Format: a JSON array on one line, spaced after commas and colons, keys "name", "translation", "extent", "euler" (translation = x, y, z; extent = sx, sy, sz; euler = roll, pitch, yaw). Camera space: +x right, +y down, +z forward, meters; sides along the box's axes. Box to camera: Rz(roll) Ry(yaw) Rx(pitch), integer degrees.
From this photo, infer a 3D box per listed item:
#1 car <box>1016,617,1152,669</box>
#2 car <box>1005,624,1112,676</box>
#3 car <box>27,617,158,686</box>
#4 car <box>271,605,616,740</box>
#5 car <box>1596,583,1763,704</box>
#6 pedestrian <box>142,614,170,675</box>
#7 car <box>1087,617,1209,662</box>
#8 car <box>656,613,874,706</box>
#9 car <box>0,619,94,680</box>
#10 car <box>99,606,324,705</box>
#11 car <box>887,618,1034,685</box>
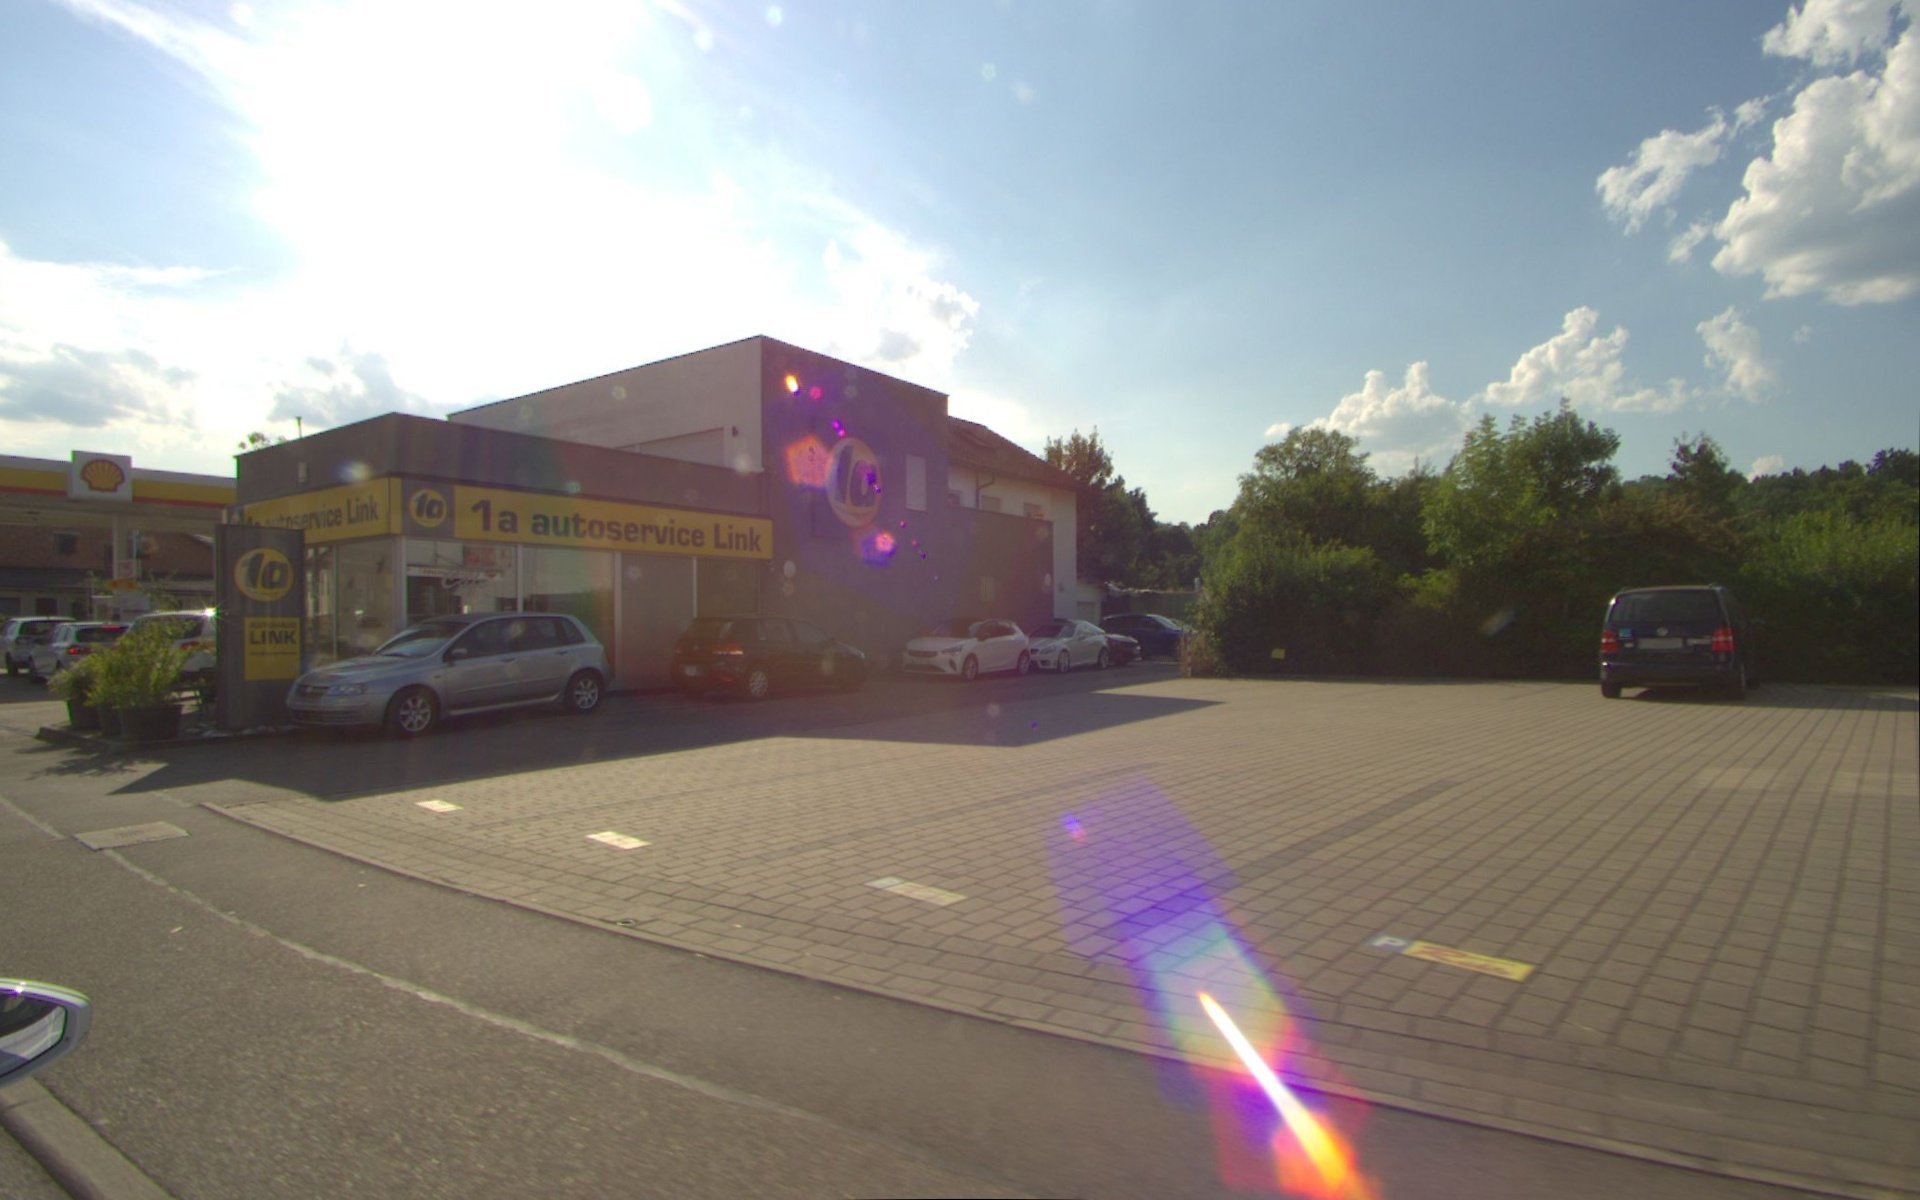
[{"name": "car", "translation": [3.775, 1.284, 30.669], "extent": [3.758, 1.417, 1.659], "euler": [1, 0, 33]}, {"name": "car", "translation": [2.765, 1.326, 27.441], "extent": [1.378, 1.278, 3.748], "euler": [1, -1, 32]}, {"name": "car", "translation": [-21.779, 1.232, 25.104], "extent": [3.946, 1.598, 1.667], "euler": [-1, -1, 36]}, {"name": "car", "translation": [-6.787, 0.877, 13.598], "extent": [1.505, 1.551, 3.981], "euler": [-1, -1, 31]}, {"name": "car", "translation": [11.057, 0.643, 15.291], "extent": [1.623, 1.615, 3.613], "euler": [-3, -3, 42]}, {"name": "pedestrian", "translation": [-22.513, 1.244, 28.037], "extent": [0.527, 1.691, 0.499], "euler": [-1, -1, 36]}, {"name": "car", "translation": [6.689, 1.376, 35.748], "extent": [3.924, 1.417, 1.659], "euler": [1, 0, 33]}, {"name": "car", "translation": [-3.434, 1.009, 18.311], "extent": [1.692, 1.487, 3.897], "euler": [1, -1, 32]}, {"name": "car", "translation": [-26.076, 1.346, 28.254], "extent": [3.946, 1.598, 1.667], "euler": [-1, -1, 36]}, {"name": "car", "translation": [-14.527, 0.991, 19.752], "extent": [1.645, 1.696, 4.076], "euler": [-1, 0, -6]}, {"name": "car", "translation": [0.102, 1.183, 24.029], "extent": [1.692, 1.427, 3.897], "euler": [1, -1, 32]}]
